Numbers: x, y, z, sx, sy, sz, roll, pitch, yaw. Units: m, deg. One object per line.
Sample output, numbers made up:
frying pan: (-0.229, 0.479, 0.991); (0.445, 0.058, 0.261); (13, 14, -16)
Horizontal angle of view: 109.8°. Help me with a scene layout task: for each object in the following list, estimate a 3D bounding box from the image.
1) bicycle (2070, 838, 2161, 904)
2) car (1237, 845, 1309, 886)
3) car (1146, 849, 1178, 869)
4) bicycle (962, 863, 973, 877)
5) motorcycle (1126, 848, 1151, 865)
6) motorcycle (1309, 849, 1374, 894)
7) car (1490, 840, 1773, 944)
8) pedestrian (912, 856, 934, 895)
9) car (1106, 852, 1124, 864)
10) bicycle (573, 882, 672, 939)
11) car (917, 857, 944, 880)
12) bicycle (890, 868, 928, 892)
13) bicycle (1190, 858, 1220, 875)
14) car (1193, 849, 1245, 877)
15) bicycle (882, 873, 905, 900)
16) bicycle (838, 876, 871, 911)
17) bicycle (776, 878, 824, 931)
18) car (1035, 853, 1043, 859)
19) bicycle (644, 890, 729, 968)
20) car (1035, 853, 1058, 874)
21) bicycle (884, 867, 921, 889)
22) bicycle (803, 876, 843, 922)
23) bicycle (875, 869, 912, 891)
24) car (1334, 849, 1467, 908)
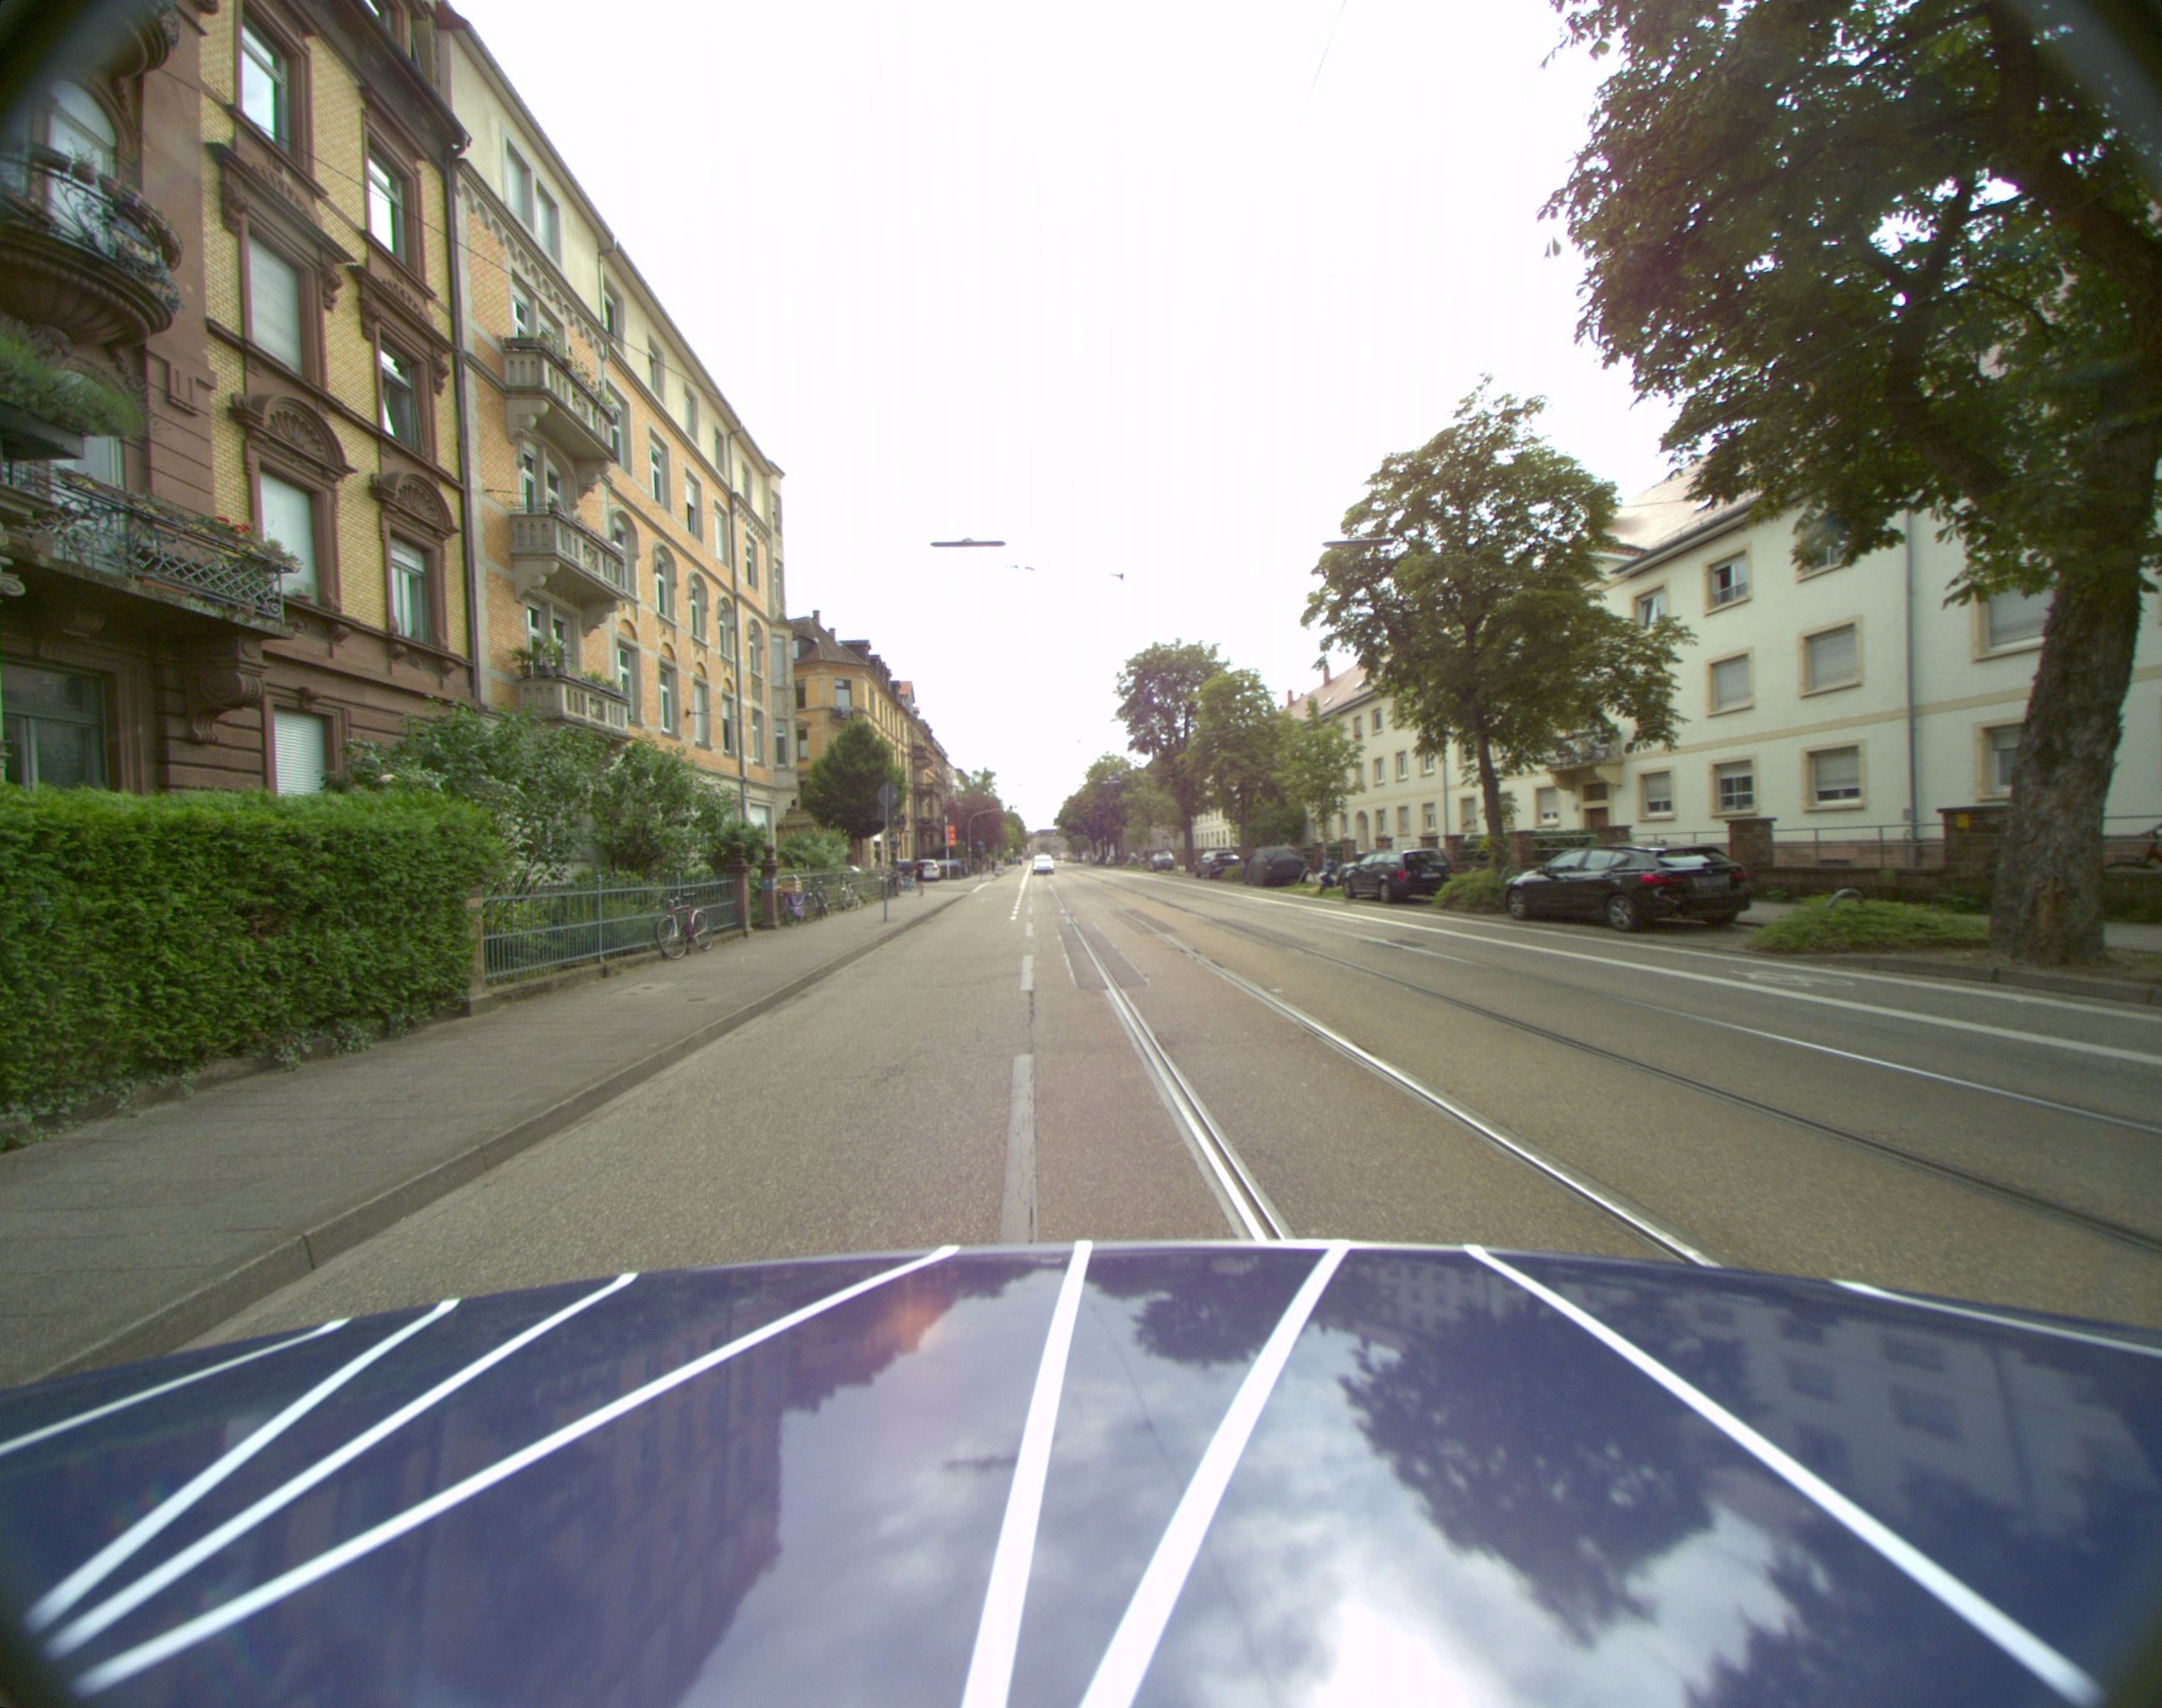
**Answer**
bicycle: (14.447, 0.219, 10.108); (0.510, 0.858, 1.549); (-2, 0, -3)
car: (8.269, 0.449, 33.082); (1.790, 1.602, 4.298); (-2, 0, -3)
car: (6.552, 0.394, 61.575); (1.702, 1.462, 4.297); (-3, 1, -5)
bicycle: (-9.274, 1.278, 62.141); (0.631, 1.106, 1.874); (-2, 0, -2)
motorcycle: (5.846, 0.247, 77.192); (2.312, 1.382, 0.838); (-7, 1, 29)
motorcycle: (8.754, 0.587, 25.549); (1.872, 1.253, 0.591); (-8, 1, -7)
car: (9.459, 0.568, 13.594); (1.701, 1.415, 4.298); (-5, 0, -3)
pedestrian: (-6.679, 0.889, 32.060); (0.732, 1.614, 0.835); (-2, 1, -3)
car: (4.383, 0.538, 99.035); (1.732, 1.462, 4.297); (-2, 0, -5)
bicycle: (-9.686, 1.181, 16.097); (1.671, 1.105, 0.611); (-2, 1, -5)
car: (-11.080, 1.025, 56.220); (1.757, 1.516, 3.997); (-2, 0, -9)
bicycle: (-8.751, 1.322, 38.771); (0.629, 1.106, 1.878); (-1, 1, 40)
bicycle: (7.662, 0.765, 47.031); (1.672, 0.965, 0.672); (-2, 1, -12)
car: (7.616, 0.469, 42.340); (1.702, 1.462, 4.297); (-2, 0, -5)
bicycle: (-7.232, 1.235, 29.360); (0.580, 0.977, 1.671); (2, 0, -4)
bicycle: (-6.982, 1.216, 23.476); (0.580, 0.977, 1.671); (2, 0, -4)
bicycle: (-6.594, 1.162, 17.881); (0.580, 1.105, 1.671); (2, 0, -4)
car: (-11.120, 0.486, 202.059); (1.947, 1.675, 4.000); (-2, 0, 1)
bicycle: (-6.458, 1.191, 12.524); (0.580, 1.105, 1.671); (-2, 0, -4)
car: (-3.058, 0.839, 67.691); (1.876, 1.670, 5.130); (-2, 1, -2)
bicycle: (-9.848, 1.319, 41.957); (1.890, 1.121, 0.533); (-2, 1, 13)
bicycle: (-6.718, 1.151, 19.850); (0.580, 1.105, 1.671); (2, 0, -4)
bicycle: (-10.113, 1.391, 40.883); (1.890, 1.121, 0.533); (-2, 1, 18)
car: (8.912, 0.615, 21.618); (1.701, 1.415, 4.298); (-3, 0, -3)
